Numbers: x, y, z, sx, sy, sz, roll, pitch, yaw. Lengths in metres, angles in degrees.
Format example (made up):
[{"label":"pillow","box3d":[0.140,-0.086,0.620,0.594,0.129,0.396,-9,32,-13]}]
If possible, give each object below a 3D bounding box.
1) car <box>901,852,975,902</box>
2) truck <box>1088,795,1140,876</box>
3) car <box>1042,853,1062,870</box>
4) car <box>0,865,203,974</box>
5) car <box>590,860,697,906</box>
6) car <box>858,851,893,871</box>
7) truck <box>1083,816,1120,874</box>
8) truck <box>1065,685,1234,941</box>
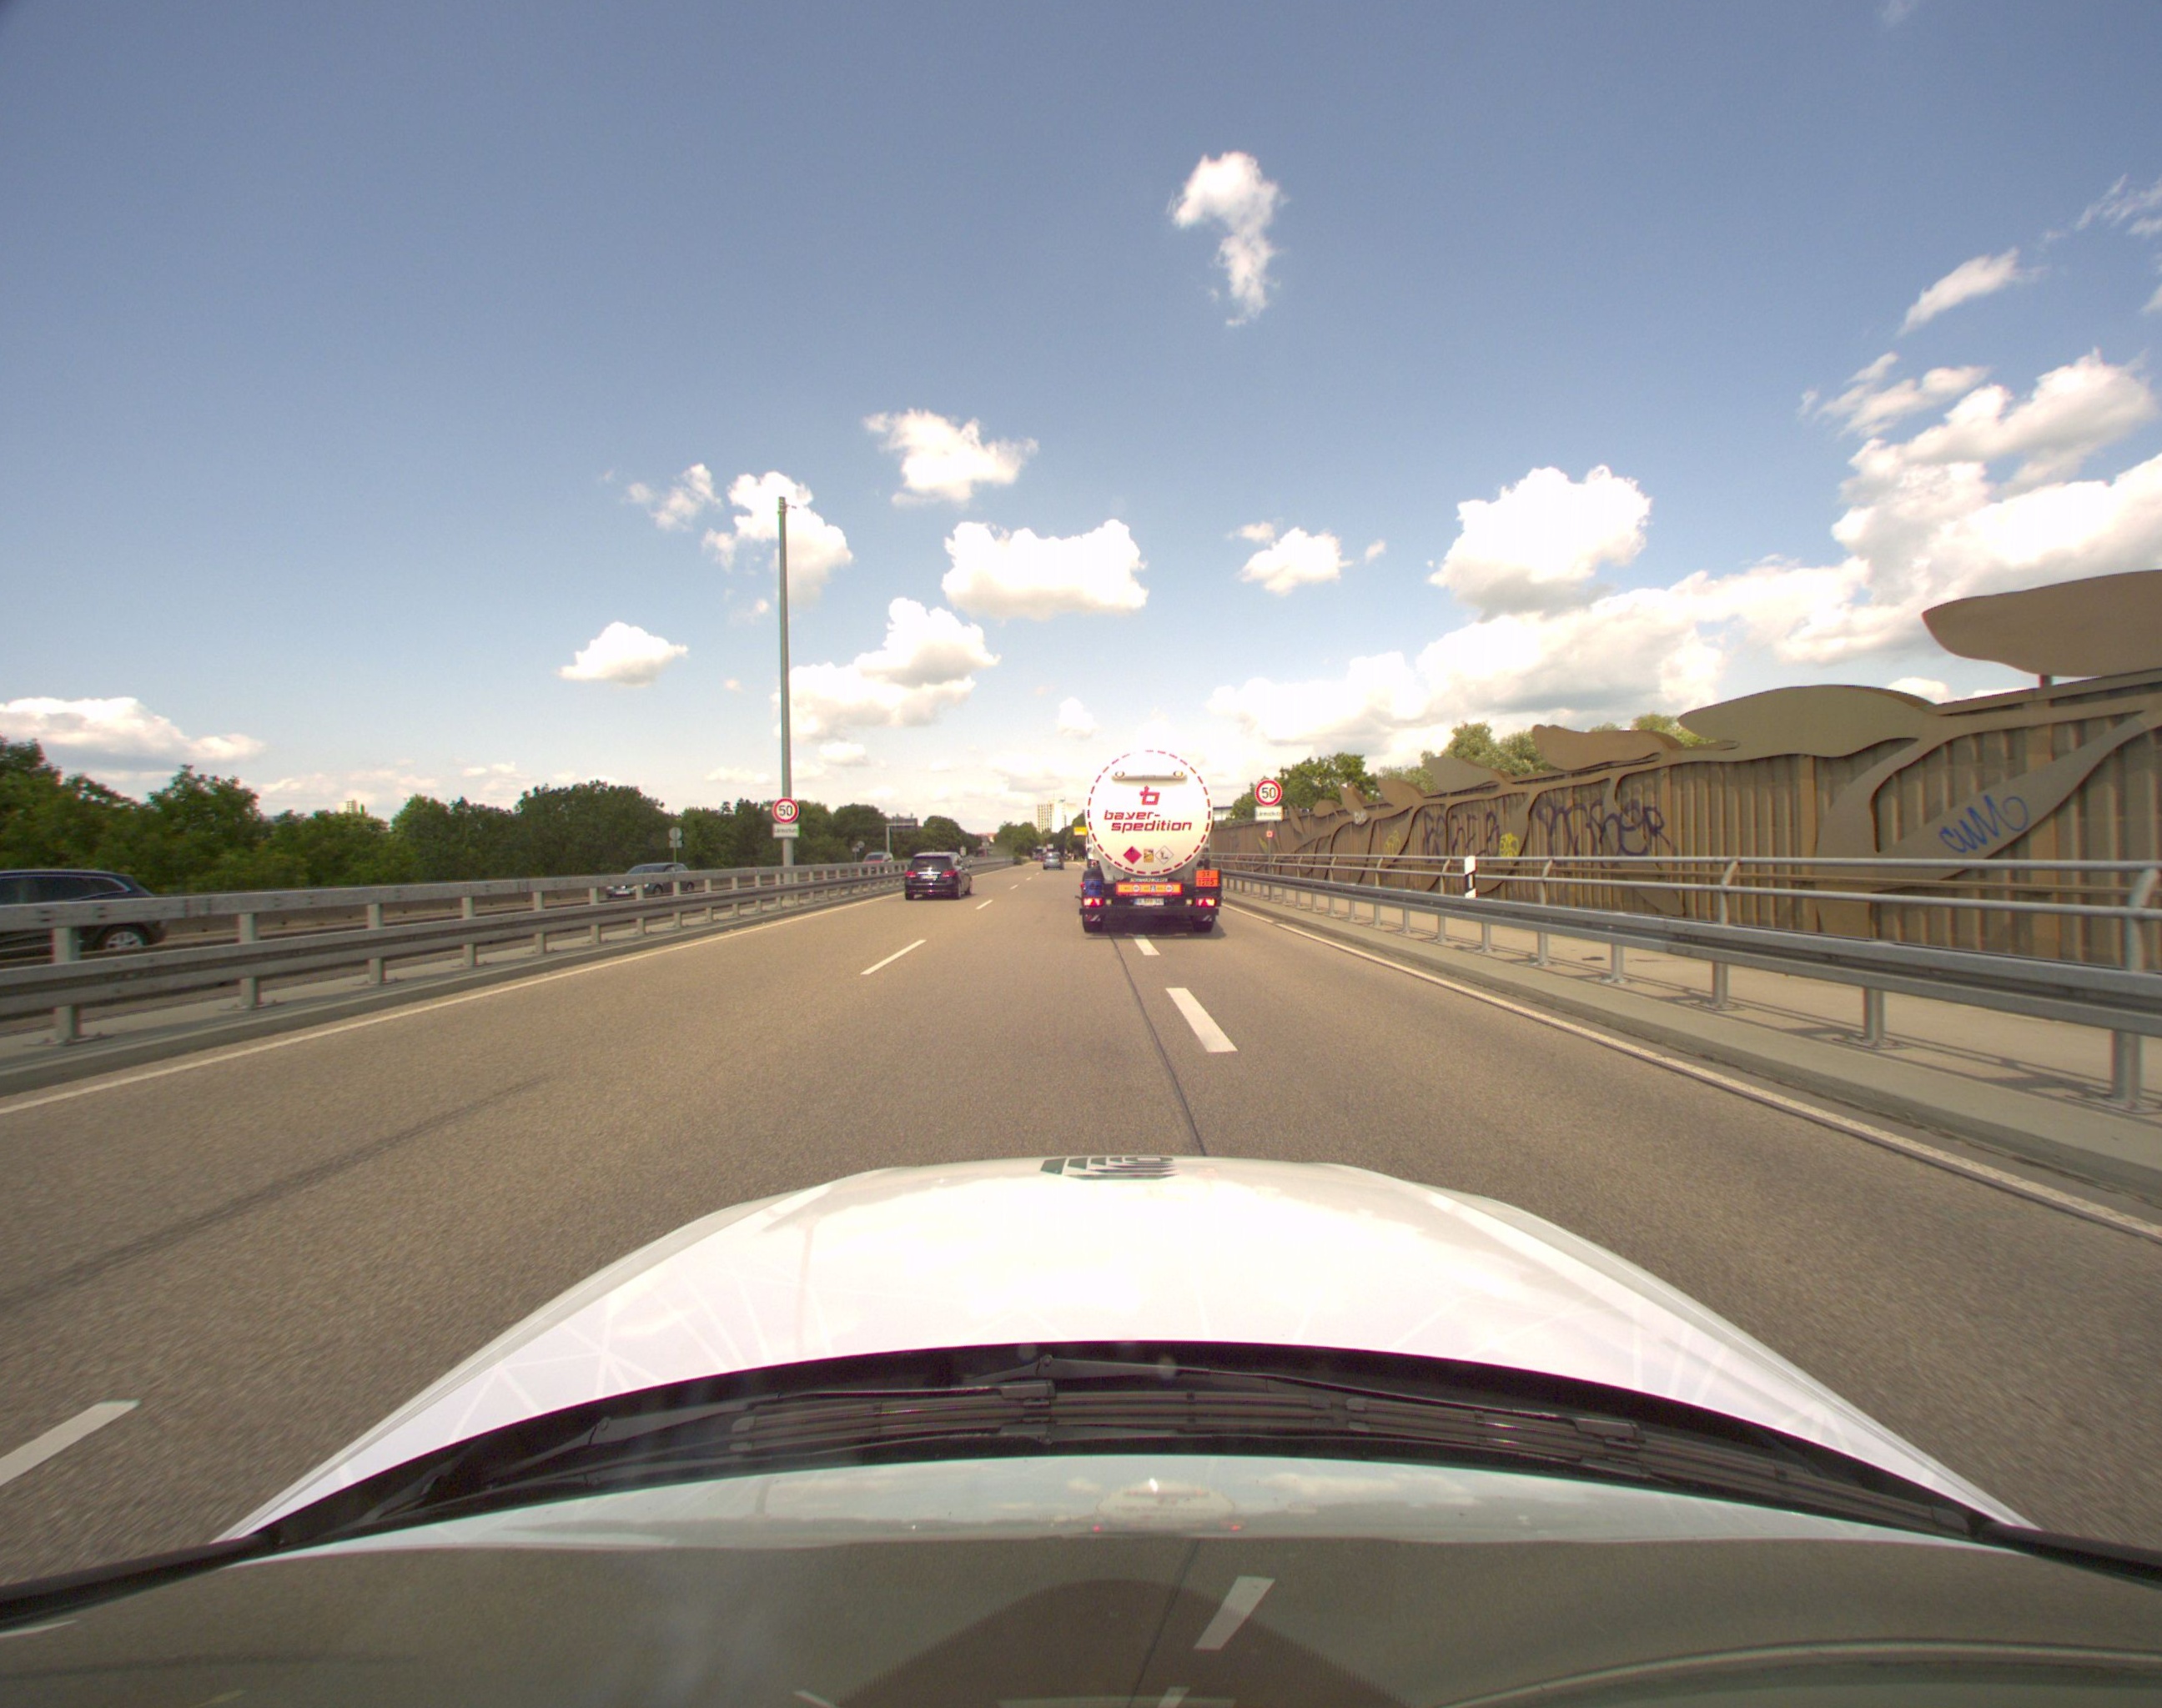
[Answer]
[{"label":"car","box3d":[-4.773,0.722,27.793,1.706,1.527,4.592,0,0,0]},{"label":"truck","box3d":[2.019,-1.135,52.804,2.887,4.807,8.025,0,0,-1]},{"label":"car","box3d":[-2.675,0.662,75.066,1.742,1.531,3.999,-1,1,-1]},{"label":"car","box3d":[-15.998,0.951,11.659,1.906,1.464,4.518,-1,0,0]},{"label":"car","box3d":[-16.746,1.066,31.425,1.988,1.574,3.998,0,0,-1]},{"label":"car","box3d":[-17.303,0.543,68.719,1.988,1.640,3.998,0,0,-2]},{"label":"truck","box3d":[1.716,-0.792,71.740,2.887,4.807,8.025,0,0,-1]},{"label":"truck","box3d":[1.661,-0.723,18.019,2.880,4.368,8.045,0,0,7]}]
